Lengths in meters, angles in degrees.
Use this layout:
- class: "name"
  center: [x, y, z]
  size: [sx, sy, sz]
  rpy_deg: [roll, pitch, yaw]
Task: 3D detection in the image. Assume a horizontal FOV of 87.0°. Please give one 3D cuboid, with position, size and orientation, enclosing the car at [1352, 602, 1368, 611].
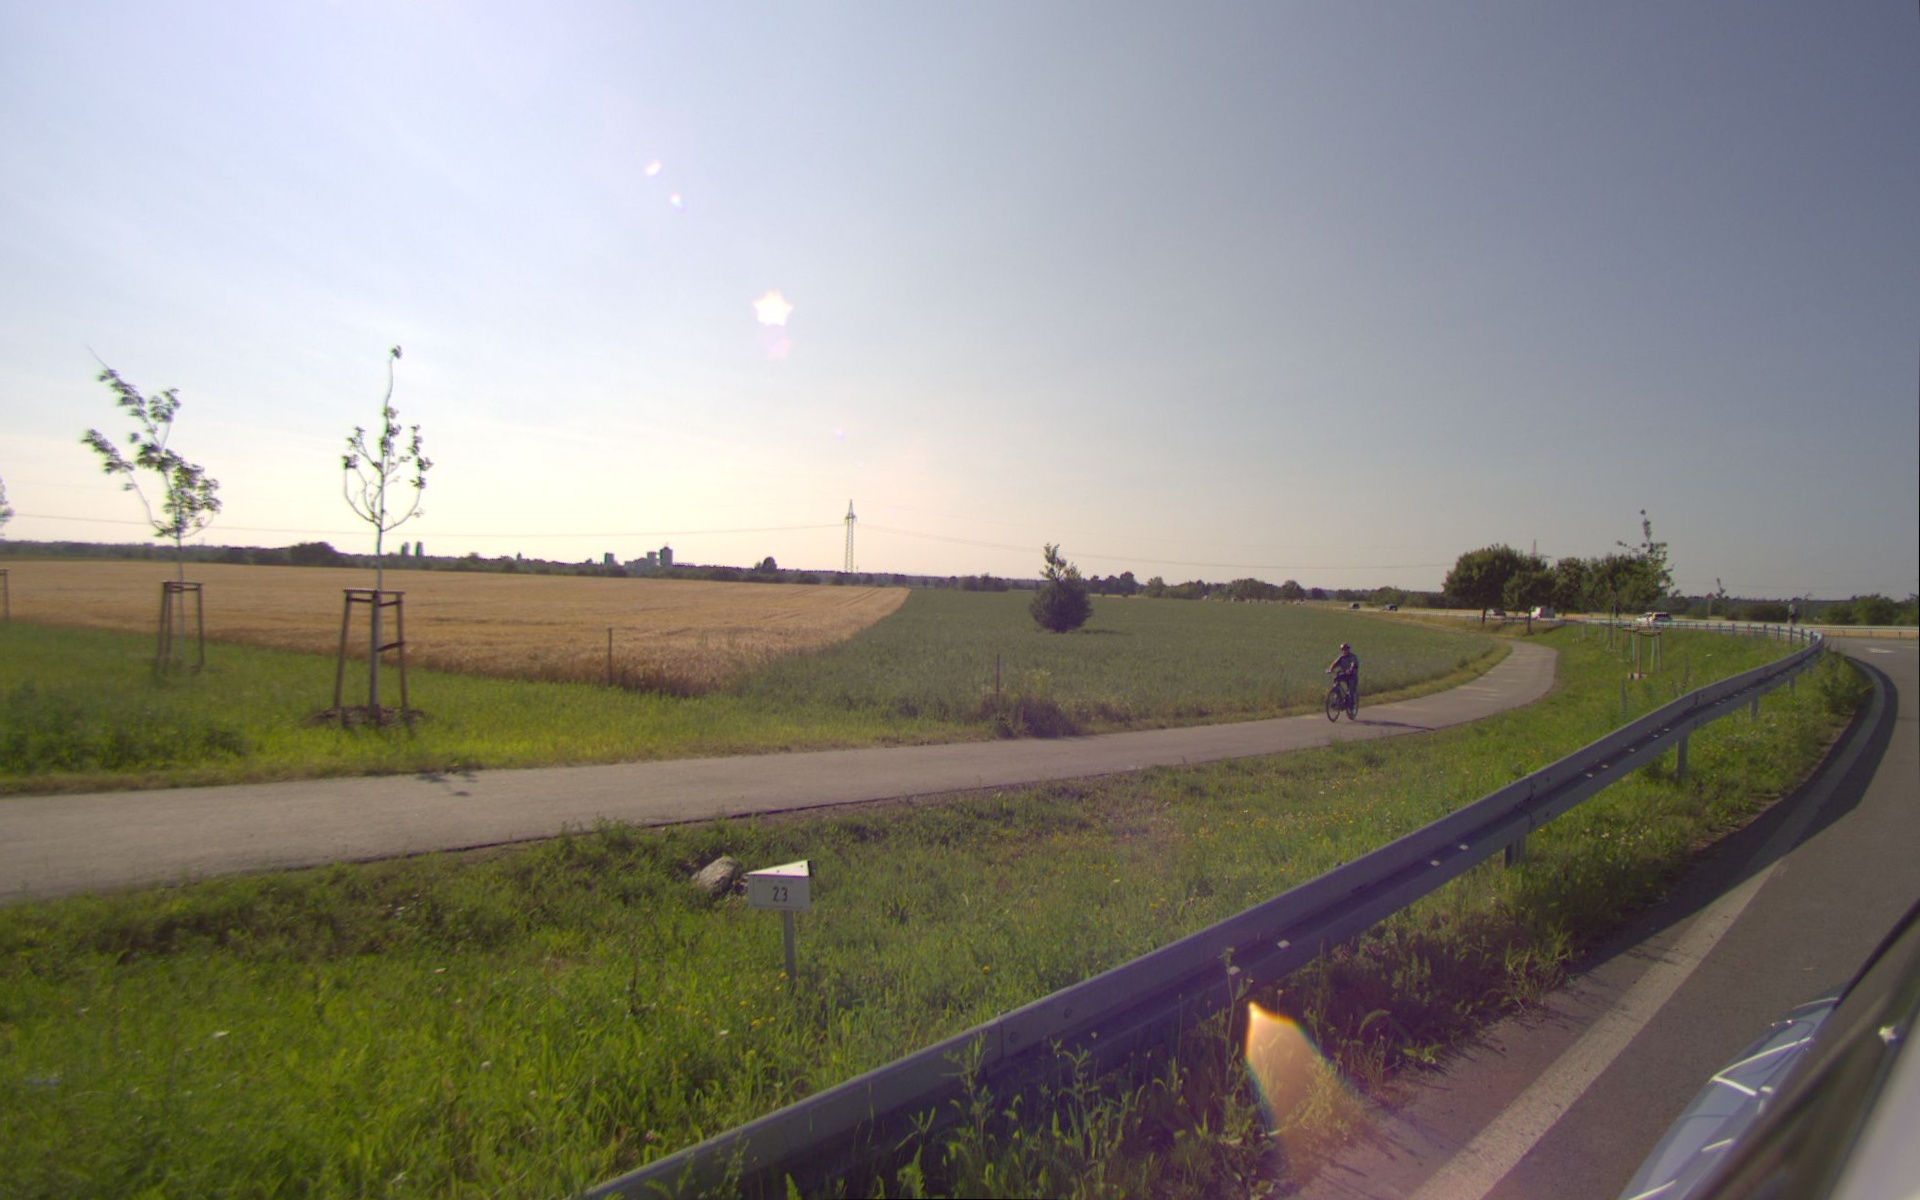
- class: "car"
  center: [83.821, 1.366, 212.081]
  size: [1.857, 1.820, 5.080]
  rpy_deg: [-1, 2, 9]

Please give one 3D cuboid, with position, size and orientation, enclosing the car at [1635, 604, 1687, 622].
- class: "car"
  center: [65.163, 1.232, 94.147]
  size: [2.089, 1.512, 5.132]
  rpy_deg: [1, -2, 12]

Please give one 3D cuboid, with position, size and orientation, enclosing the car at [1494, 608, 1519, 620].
- class: "car"
  center: [74.459, 1.980, 138.012]
  size: [1.773, 1.467, 4.685]
  rpy_deg: [1, -2, 13]

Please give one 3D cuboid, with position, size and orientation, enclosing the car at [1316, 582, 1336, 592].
- class: "car"
  center: [77.147, -2.711, 213.333]
  size: [2.769, 2.039, 6.091]
  rpy_deg: [0, 1, 7]

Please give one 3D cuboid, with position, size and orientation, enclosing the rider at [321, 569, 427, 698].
- class: "rider"
  center: [-7.966, 0.435, 13.805]
  size: [0.806, 1.663, 0.991]
  rpy_deg: [2, 0, 1]

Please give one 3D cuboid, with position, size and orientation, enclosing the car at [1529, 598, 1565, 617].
- class: "car"
  center: [72.442, 0.939, 124.940]
  size: [2.087, 2.040, 5.136]
  rpy_deg: [1, -2, 10]

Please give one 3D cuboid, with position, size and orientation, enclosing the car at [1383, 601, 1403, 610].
- class: "car"
  center: [79.897, 0.985, 186.805]
  size: [1.966, 1.613, 4.854]
  rpy_deg: [1, 0, 7]
